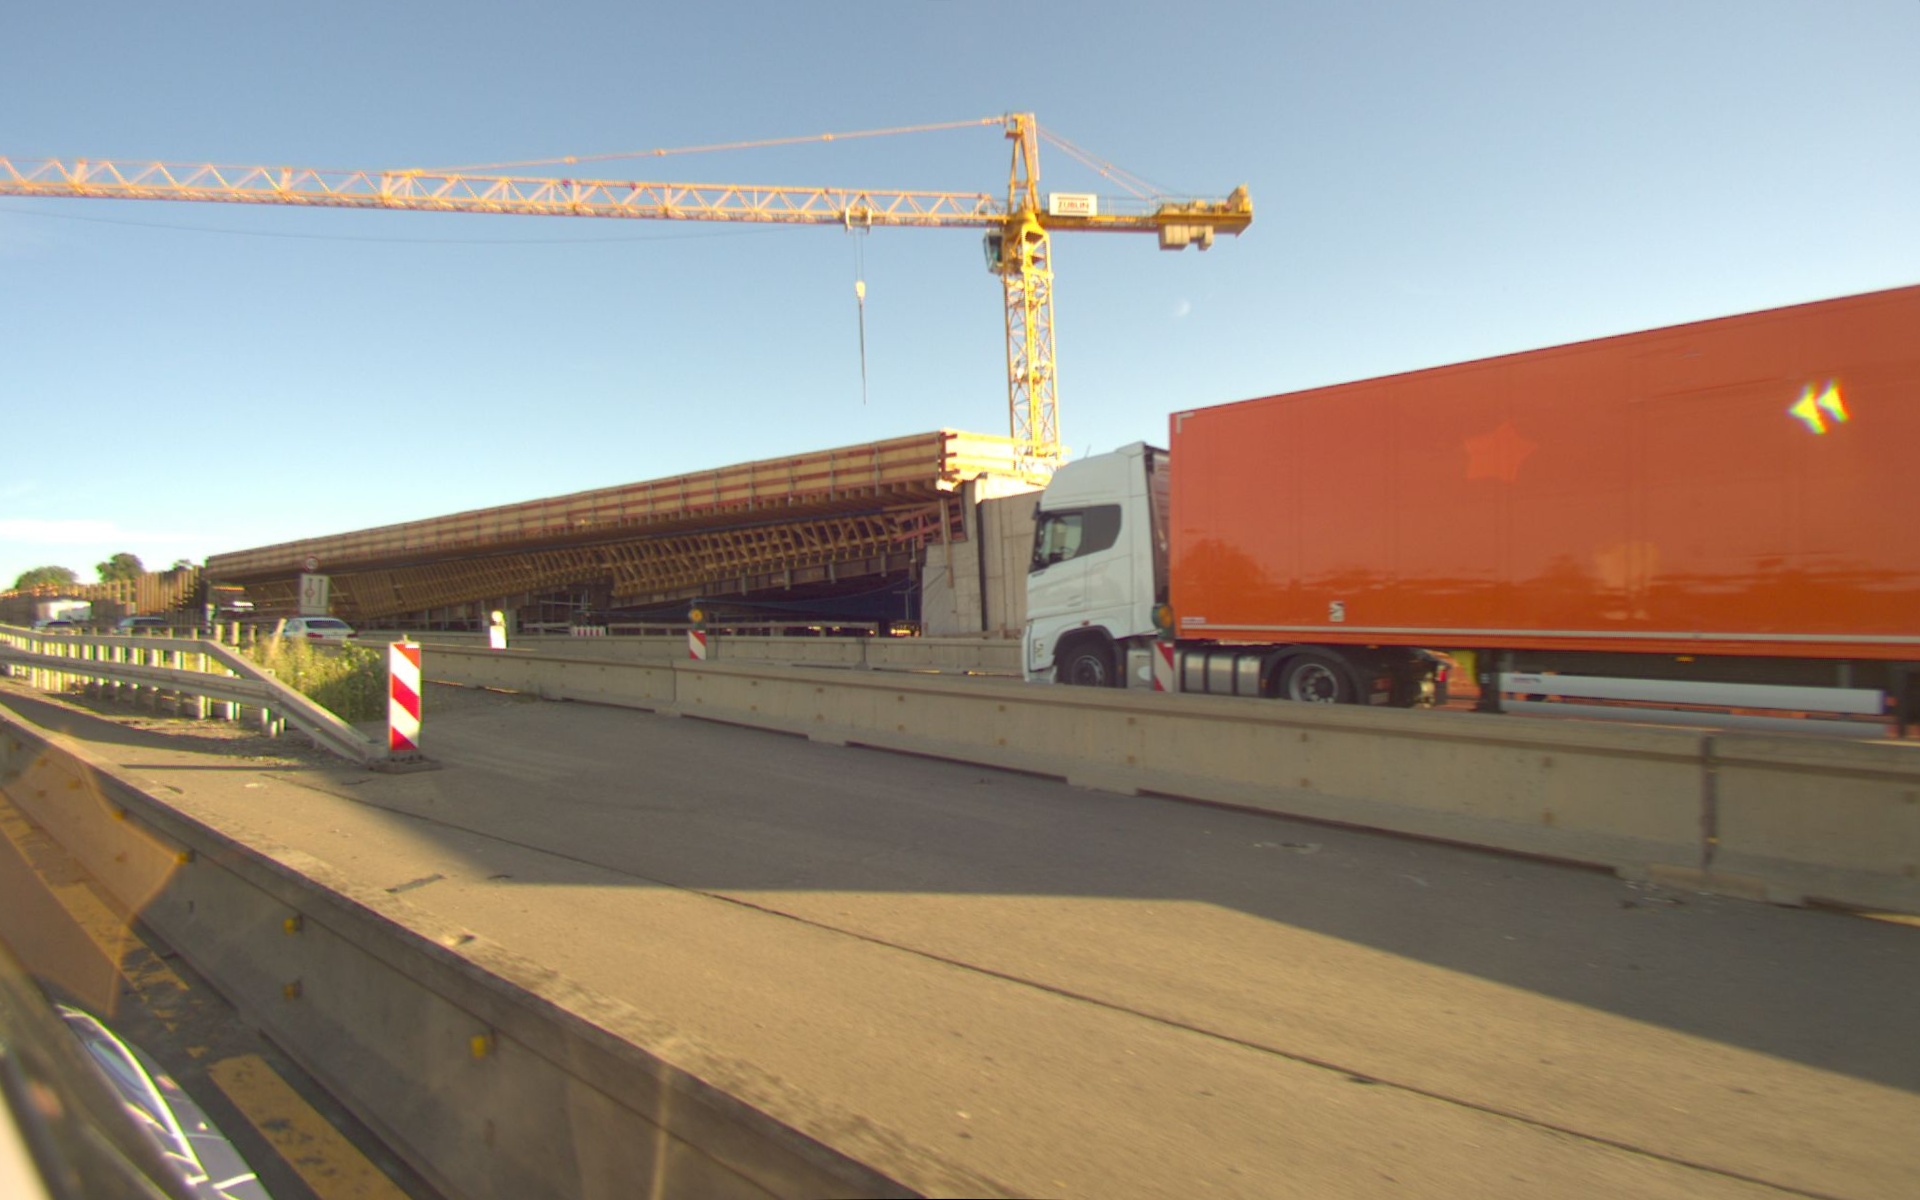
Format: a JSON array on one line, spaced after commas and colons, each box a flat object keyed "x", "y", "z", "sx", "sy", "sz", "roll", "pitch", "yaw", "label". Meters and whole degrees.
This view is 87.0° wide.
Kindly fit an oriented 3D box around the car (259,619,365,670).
[{"x": -22.323, "y": 1.486, "z": 34.810, "sx": 4.656, "sy": 1.613, "sz": 1.713, "roll": -1, "pitch": -1, "yaw": 39, "label": "car"}]

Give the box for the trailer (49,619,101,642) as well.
[{"x": -60.447, "y": 2.053, "z": 69.101, "sx": 2.141, "sy": 1.524, "sz": 2.300, "roll": -1, "pitch": -1, "yaw": 37, "label": "trailer"}]

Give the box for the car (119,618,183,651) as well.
[{"x": -38.707, "y": 1.639, "z": 48.381, "sx": 3.998, "sy": 1.401, "sz": 1.644, "roll": -1, "pitch": 3, "yaw": 41, "label": "car"}]

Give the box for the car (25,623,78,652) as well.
[{"x": -53.834, "y": 2.214, "z": 59.925, "sx": 4.108, "sy": 1.613, "sz": 1.713, "roll": -1, "pitch": -1, "yaw": 39, "label": "car"}]

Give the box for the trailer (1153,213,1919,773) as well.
[{"x": 8.321, "y": -0.871, "z": 9.412, "sx": 2.552, "sy": 4.505, "sz": 14.155, "roll": -1, "pitch": 0, "yaw": -41, "label": "trailer"}]

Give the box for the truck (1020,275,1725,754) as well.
[{"x": 4.704, "y": -0.746, "z": 13.480, "sx": 2.552, "sy": 4.505, "sz": 8.342, "roll": -1, "pitch": 0, "yaw": -42, "label": "truck"}]

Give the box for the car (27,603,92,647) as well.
[{"x": -63.748, "y": 1.763, "z": 71.630, "sx": 6.152, "sy": 2.989, "sz": 2.306, "roll": -1, "pitch": -1, "yaw": 37, "label": "car"}]
